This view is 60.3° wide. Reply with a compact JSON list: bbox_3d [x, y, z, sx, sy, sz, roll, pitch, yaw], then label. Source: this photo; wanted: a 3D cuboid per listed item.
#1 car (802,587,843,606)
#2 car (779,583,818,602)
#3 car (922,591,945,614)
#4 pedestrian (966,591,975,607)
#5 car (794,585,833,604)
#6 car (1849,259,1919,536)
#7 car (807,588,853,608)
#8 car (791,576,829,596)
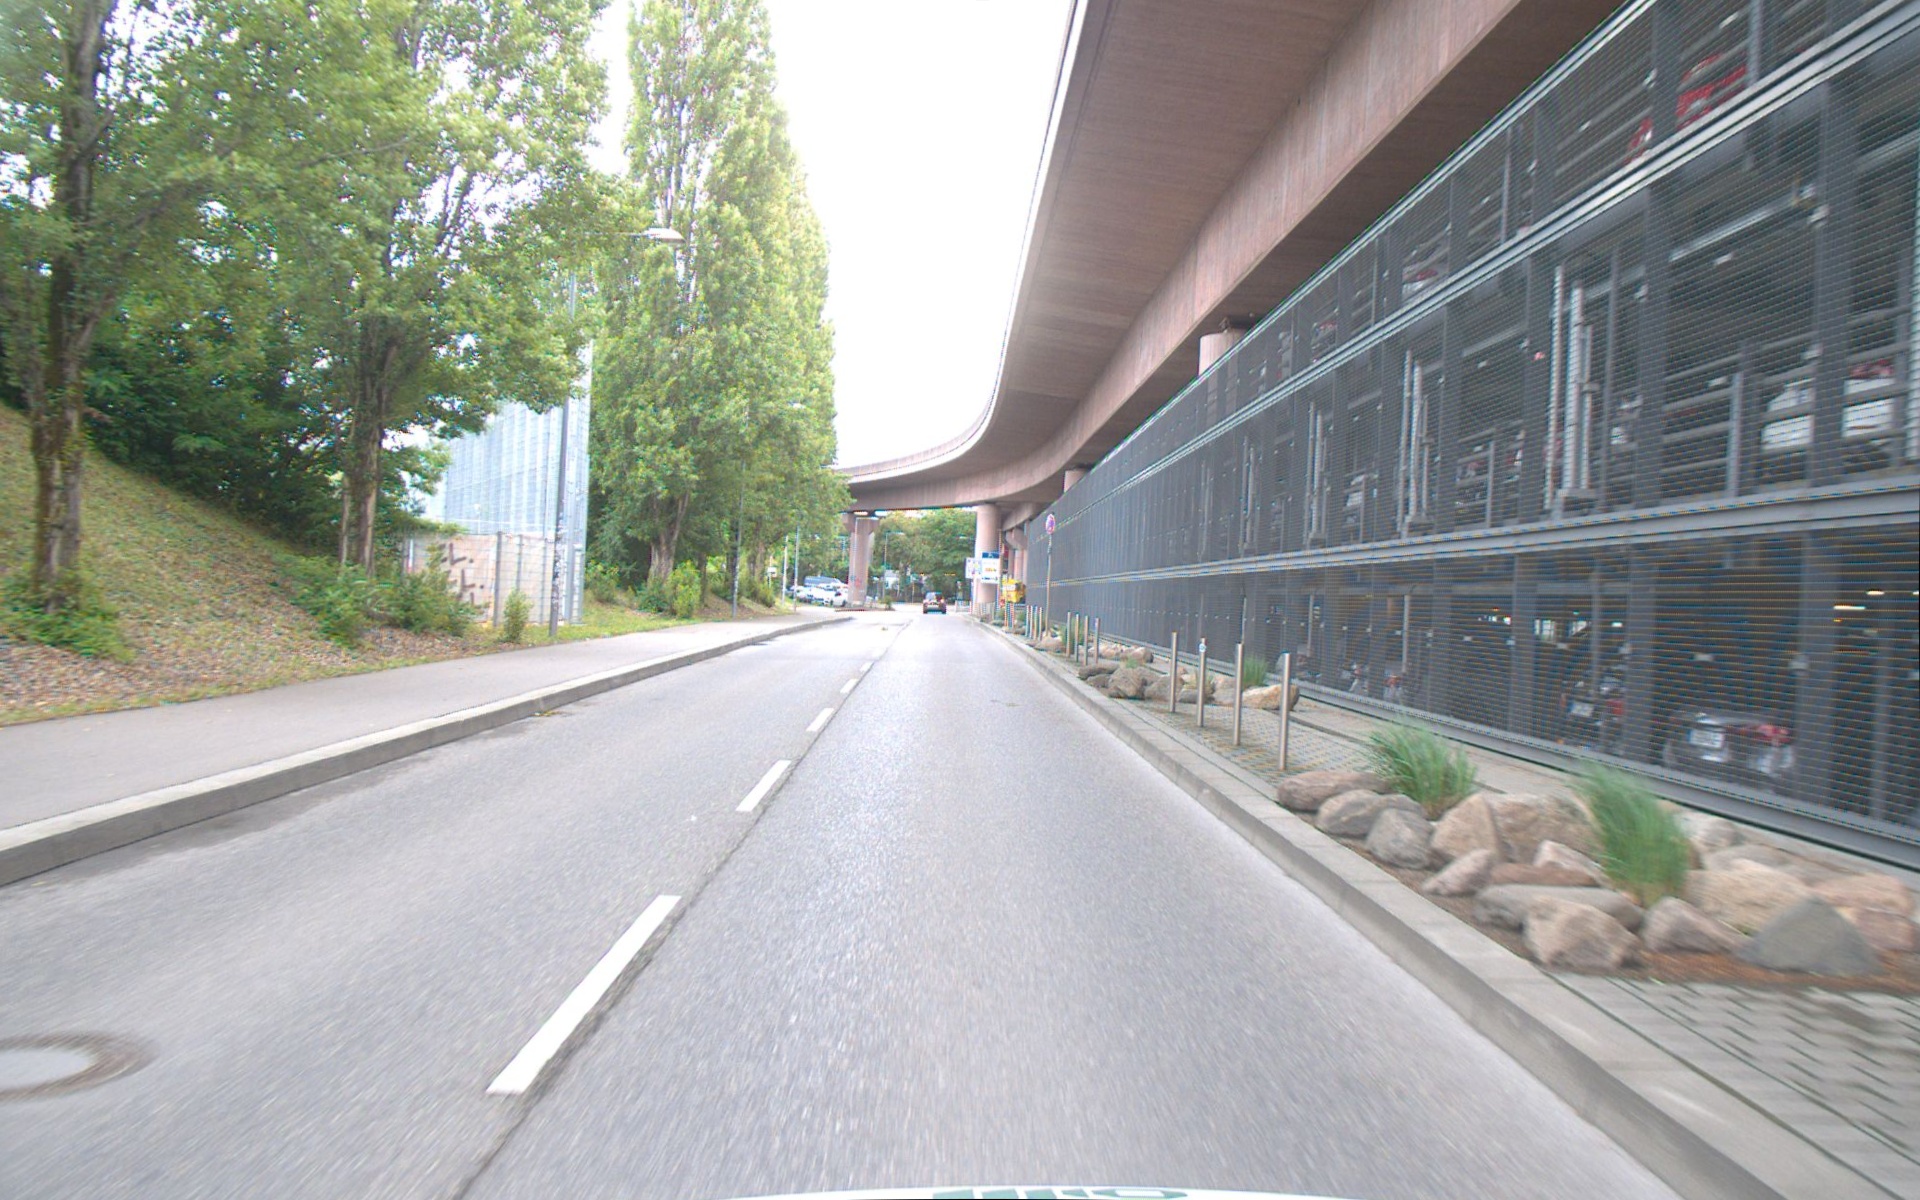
[{"bbox_3d":[-13.018,-0.329,156.830,1.694,1.746,3.653,4,2,40],"label":"car"},{"bbox_3d":[-15.992,-0.771,163.821,1.775,1.746,3.653,4,2,40],"label":"car"},{"bbox_3d":[-2.191,0.221,138.518,1.802,1.741,3.705,2,2,-1],"label":"car"},{"bbox_3d":[1.261,-0.164,202.880,0.761,1.908,0.816,1,2,-32],"label":"pedestrian"},{"bbox_3d":[-14.238,-0.547,160.738,1.694,1.746,3.653,4,2,40],"label":"car"},{"bbox_3d":[7.855,-1.174,9.995,3.905,1.686,1.832,2,2,1],"label":"car"},{"bbox_3d":[-12.036,-0.148,152.919,1.851,1.746,4.131,4,2,40],"label":"car"},{"bbox_3d":[-16.773,-1.547,185.216,4.129,2.048,1.999,3,0,-2],"label":"car"}]
